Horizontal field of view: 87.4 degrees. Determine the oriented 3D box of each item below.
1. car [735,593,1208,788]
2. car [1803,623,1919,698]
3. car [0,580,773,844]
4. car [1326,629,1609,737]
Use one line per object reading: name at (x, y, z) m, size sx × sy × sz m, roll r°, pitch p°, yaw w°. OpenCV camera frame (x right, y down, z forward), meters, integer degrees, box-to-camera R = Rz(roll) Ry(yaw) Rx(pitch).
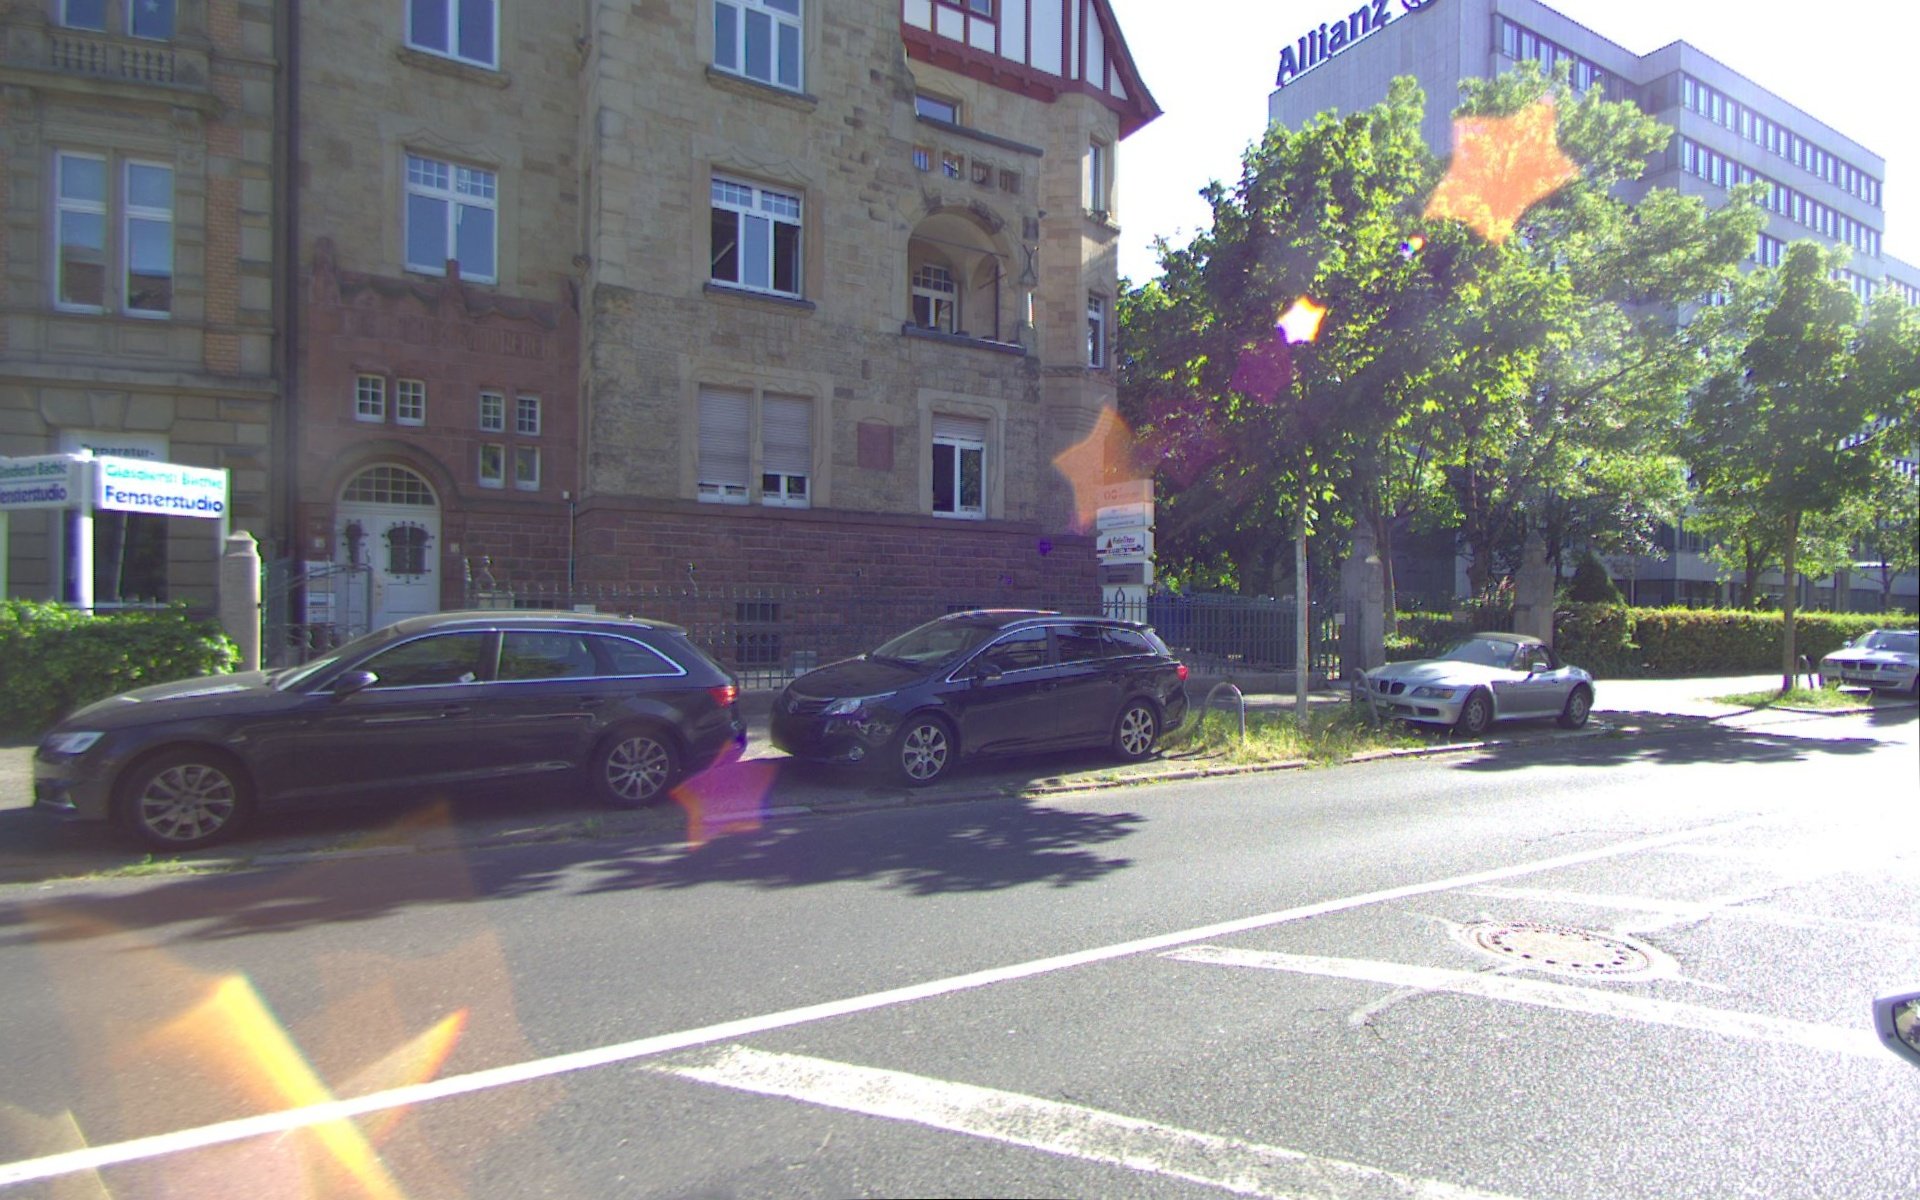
car at (0.251, 0.781, 10.358) m, size 4.659 × 1.514 × 1.843 m, roll 1°, pitch 2°, yaw -36°
car at (20.733, 1.291, 22.244) m, size 4.138 × 1.402 × 1.681 m, roll 1°, pitch 3°, yaw -28°
car at (-3.996, 0.683, 7.745) m, size 4.664 × 1.447 × 1.847 m, roll 1°, pitch 3°, yaw -30°
car at (7.197, 1.082, 14.172) m, size 3.967 × 1.272 × 1.670 m, roll 1°, pitch 0°, yaw -30°
